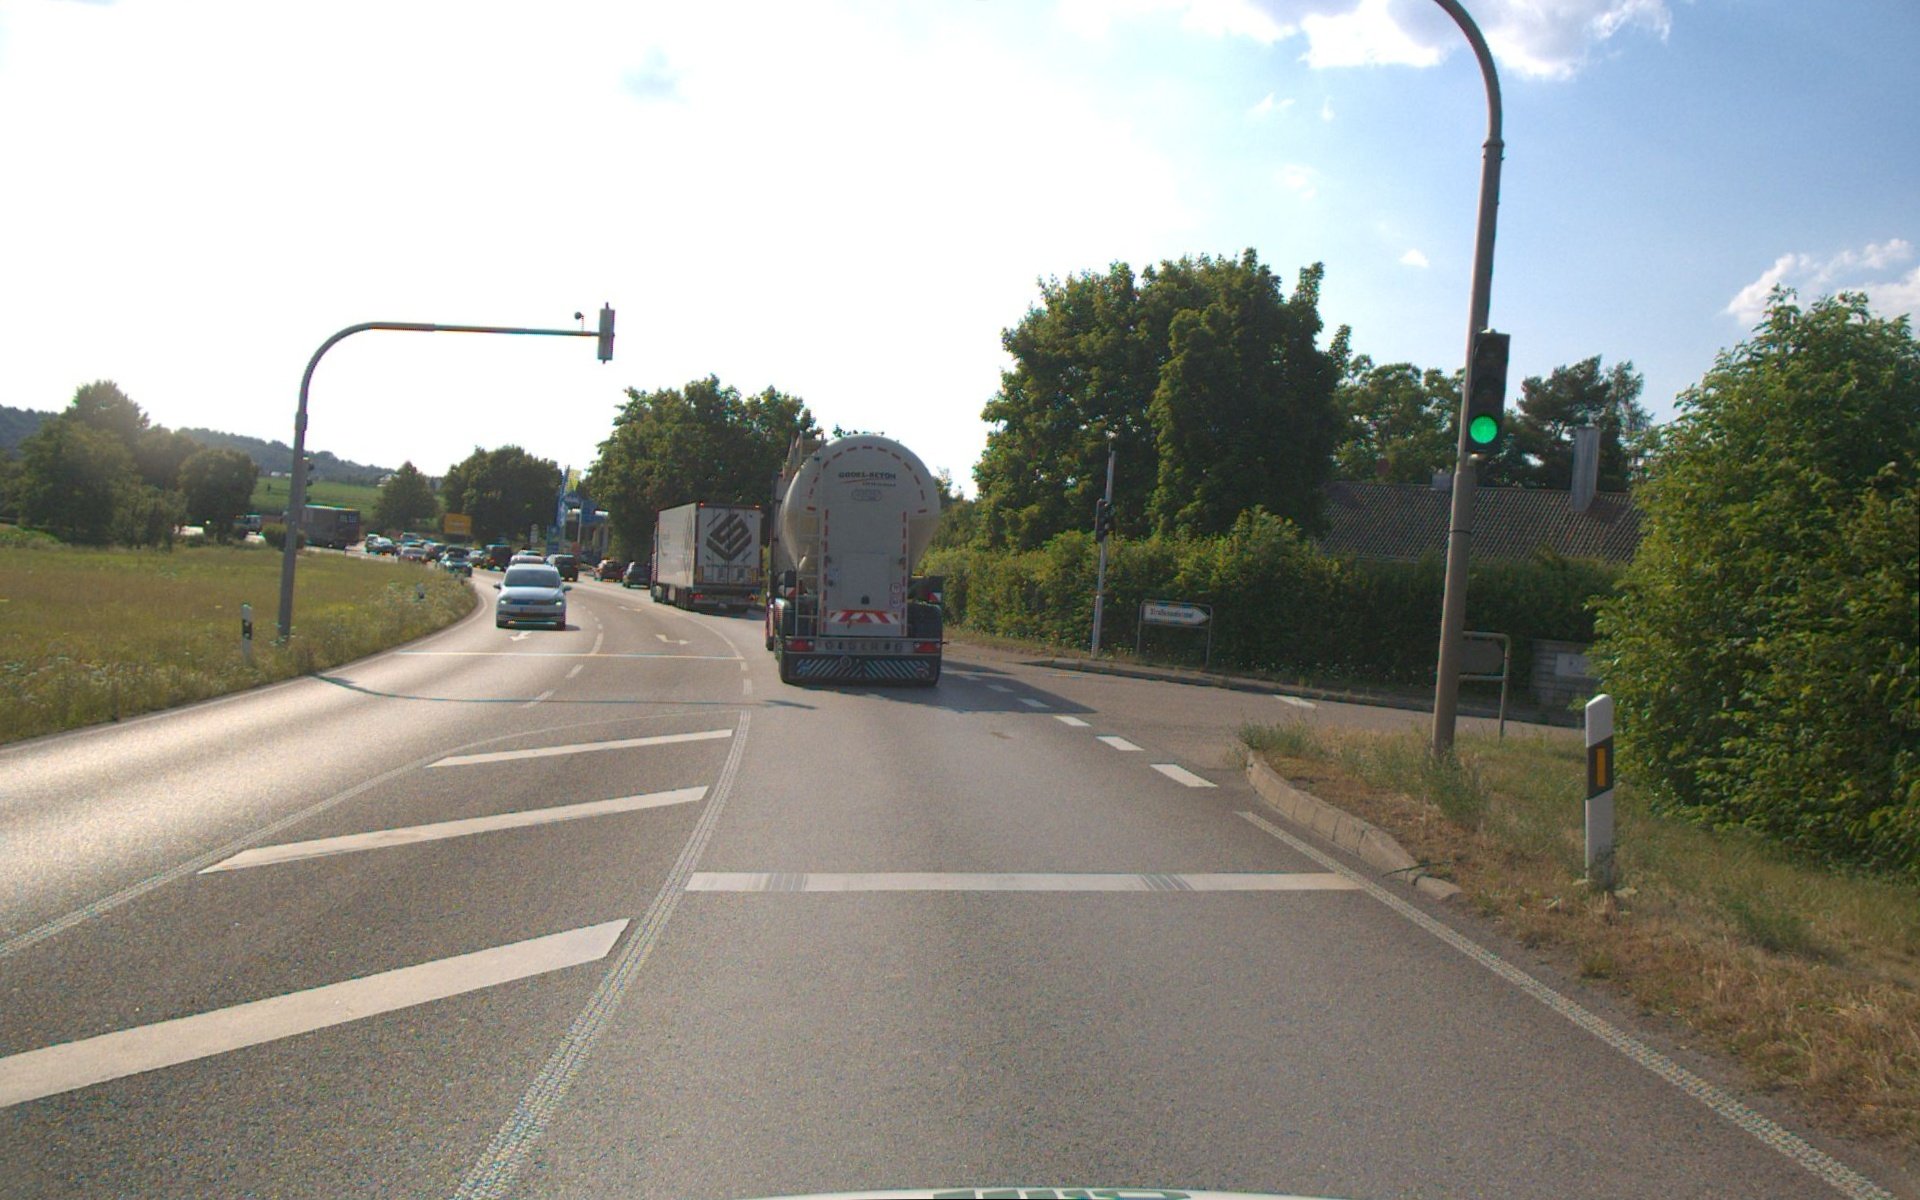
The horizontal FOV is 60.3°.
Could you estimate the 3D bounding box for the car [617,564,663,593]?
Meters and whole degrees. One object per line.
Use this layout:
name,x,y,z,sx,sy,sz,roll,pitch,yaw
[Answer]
car,-19.815,-1.307,102.282,1.966,1.685,3.973,3,-1,-22

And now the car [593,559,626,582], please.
car,-24.880,-2.072,117.366,1.660,1.493,3.975,3,-1,-21

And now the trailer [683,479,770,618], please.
trailer,-9.455,-1.842,66.023,2.910,4.967,10.262,2,-1,-10

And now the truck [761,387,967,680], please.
truck,-2.090,-0.909,30.435,2.919,4.248,11.644,2,-1,-7

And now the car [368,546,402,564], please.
car,-56.956,-4.426,163.818,1.870,1.627,3.943,2,0,-40

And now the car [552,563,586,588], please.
car,-26.730,-1.671,112.999,1.853,1.627,3.979,2,0,-19

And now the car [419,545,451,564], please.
car,-47.931,-4.122,150.942,1.863,1.627,3.958,2,0,-31

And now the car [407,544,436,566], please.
car,-42.665,-3.587,130.949,1.855,1.627,3.974,2,0,-22

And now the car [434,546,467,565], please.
car,-45.015,-3.927,146.040,1.862,1.627,3.960,2,0,-30

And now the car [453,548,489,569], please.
car,-41.298,-3.510,139.742,2.063,1.627,3.961,2,0,-29

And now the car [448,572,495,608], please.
car,-24.361,-0.512,82.422,1.855,1.627,3.974,2,0,-22

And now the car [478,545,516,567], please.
car,-37.258,-3.548,133.049,1.865,1.627,3.954,2,0,-33

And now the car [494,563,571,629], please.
car,-11.485,-0.136,44.419,1.850,1.627,3.985,2,0,-15

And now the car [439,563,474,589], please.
car,-33.798,-1.595,110.964,1.855,1.627,3.974,2,0,-22

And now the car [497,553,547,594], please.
car,-18.686,-1.122,70.461,1.852,1.627,3.982,2,0,-17

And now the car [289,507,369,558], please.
car,-67.863,-7.214,177.532,3.522,5.147,13.043,2,0,-42
